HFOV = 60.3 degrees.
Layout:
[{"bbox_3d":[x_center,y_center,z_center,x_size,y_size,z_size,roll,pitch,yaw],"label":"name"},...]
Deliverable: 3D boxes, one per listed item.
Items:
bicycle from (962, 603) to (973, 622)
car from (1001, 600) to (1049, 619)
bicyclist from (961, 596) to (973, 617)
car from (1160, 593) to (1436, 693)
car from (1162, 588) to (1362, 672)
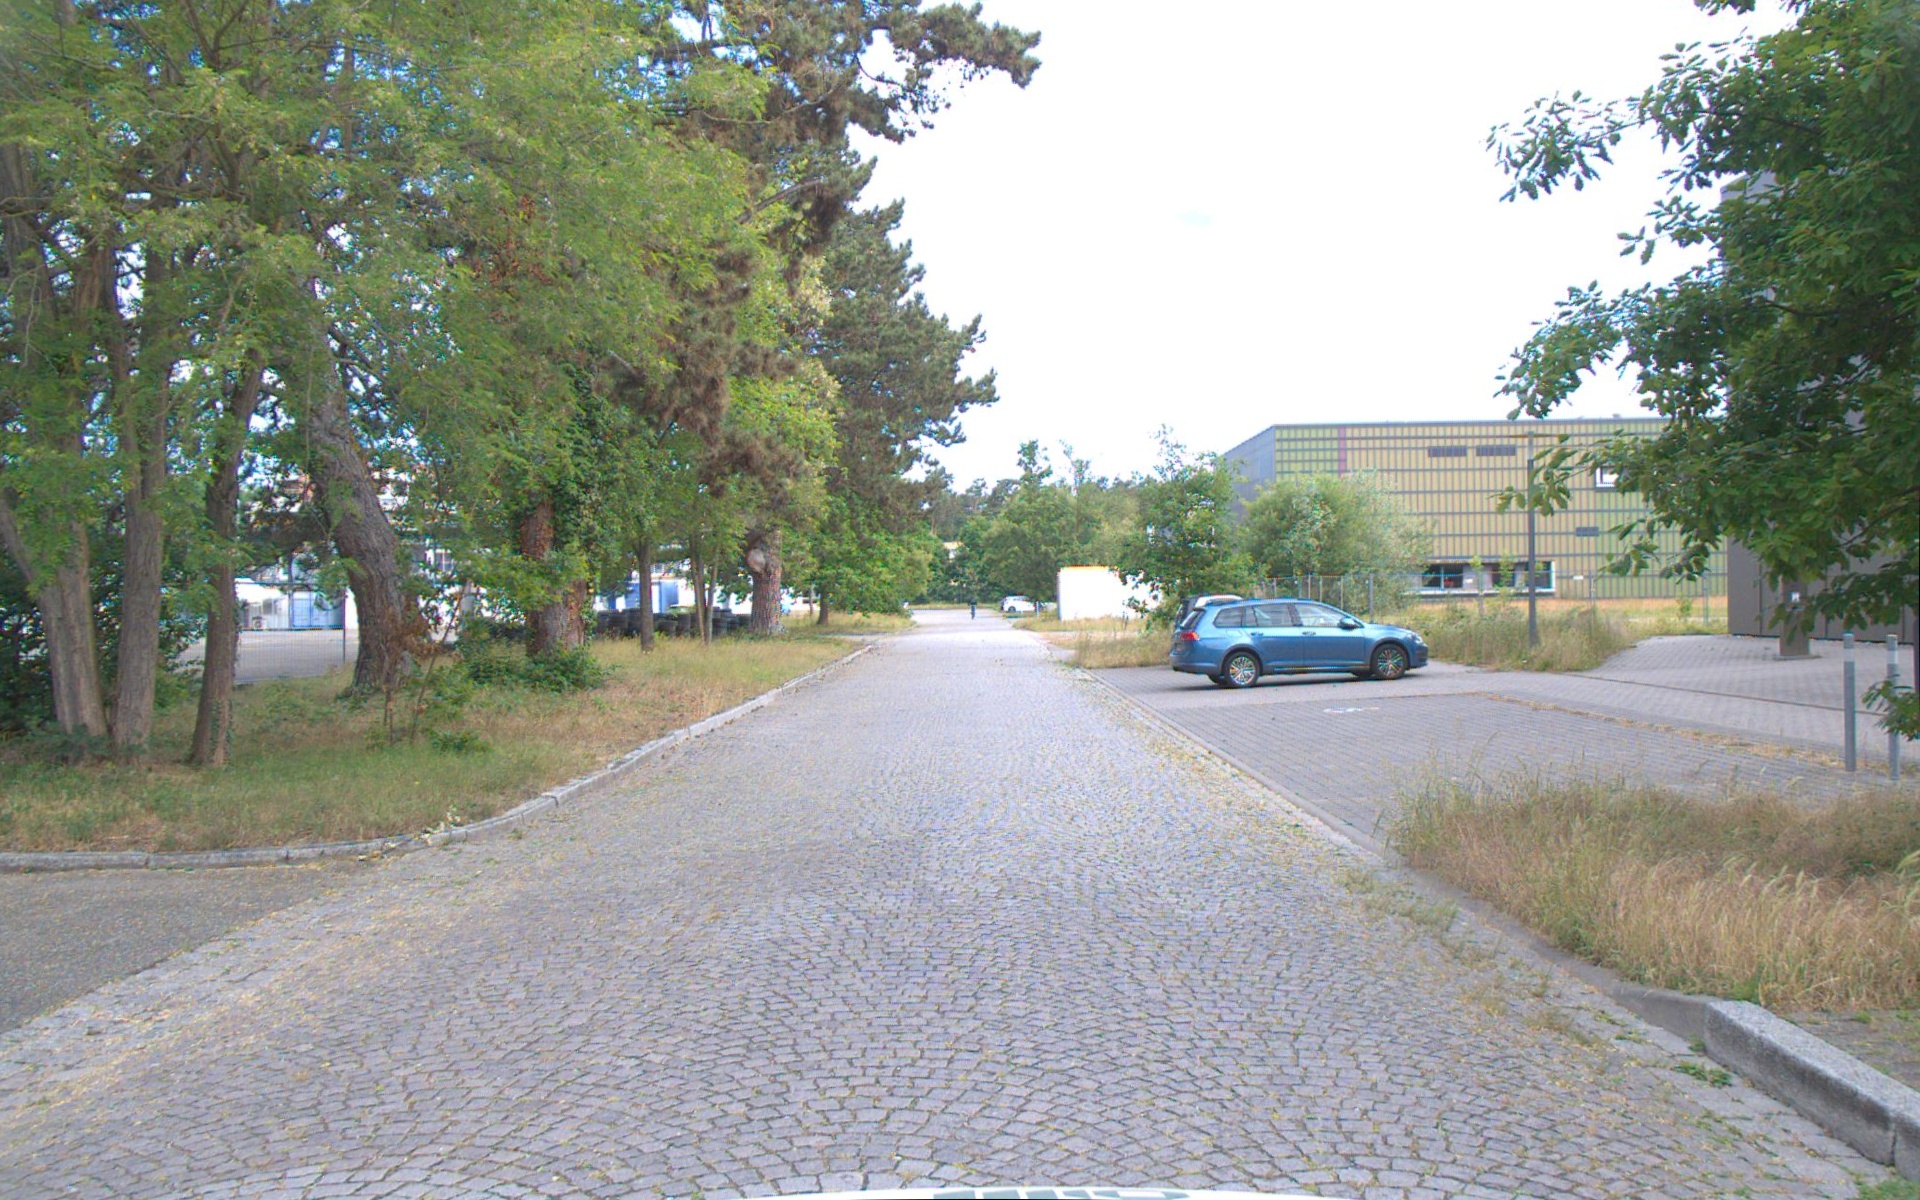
[{"bbox_3d":[0.557,0.915,123.078,0.807,1.400,2.042,-1,1,-1],"label":"bicycle"},{"bbox_3d":[5.865,0.851,149.016,4.232,1.576,2.000,-1,0,1],"label":"car"},{"bbox_3d":[0.546,0.493,123.142,0.879,1.569,0.868,-1,1,-1],"label":"bicyclist"},{"bbox_3d":[5.898,0.729,29.198,4.391,1.488,1.934,-3,0,-2],"label":"car"},{"bbox_3d":[6.648,0.643,36.652,4.025,1.600,1.764,-3,0,-2],"label":"car"}]
